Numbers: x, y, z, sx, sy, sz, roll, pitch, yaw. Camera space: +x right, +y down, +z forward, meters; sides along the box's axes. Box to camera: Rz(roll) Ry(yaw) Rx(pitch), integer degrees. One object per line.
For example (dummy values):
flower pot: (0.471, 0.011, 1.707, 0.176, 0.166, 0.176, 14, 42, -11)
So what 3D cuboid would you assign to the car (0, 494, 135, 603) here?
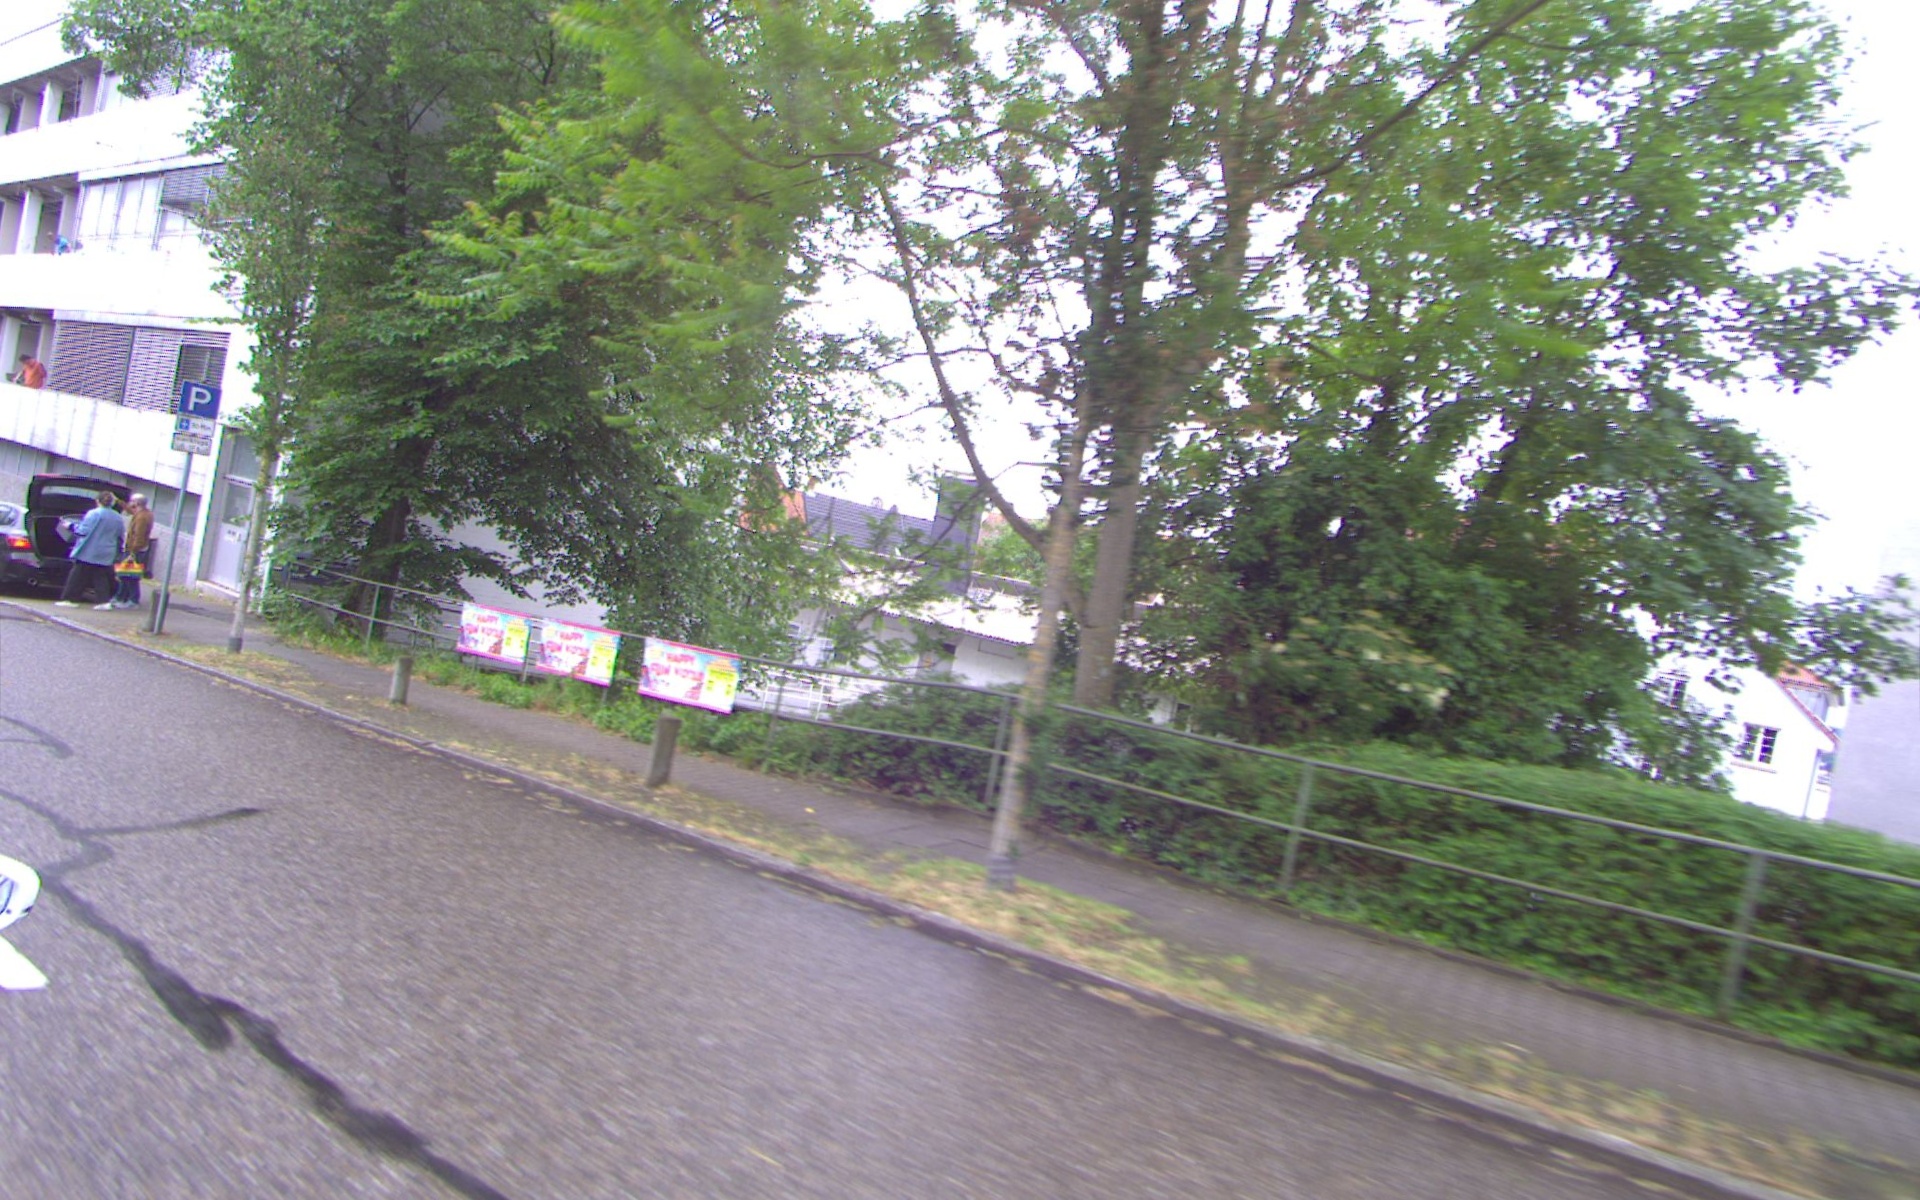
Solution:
car: (-15.511, -0.950, 16.688, 3.933, 1.452, 1.506, 7, -1, 31)

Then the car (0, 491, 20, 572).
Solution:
car: (-20.230, -1.598, 19.708, 3.935, 1.482, 1.683, 9, 0, 33)

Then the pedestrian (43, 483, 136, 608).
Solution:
pedestrian: (-13.088, -0.807, 15.133, 0.725, 1.746, 0.763, 9, 2, 32)

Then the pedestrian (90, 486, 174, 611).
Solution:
pedestrian: (-13.178, -0.808, 16.026, 0.655, 1.860, 0.686, 7, 2, -13)
